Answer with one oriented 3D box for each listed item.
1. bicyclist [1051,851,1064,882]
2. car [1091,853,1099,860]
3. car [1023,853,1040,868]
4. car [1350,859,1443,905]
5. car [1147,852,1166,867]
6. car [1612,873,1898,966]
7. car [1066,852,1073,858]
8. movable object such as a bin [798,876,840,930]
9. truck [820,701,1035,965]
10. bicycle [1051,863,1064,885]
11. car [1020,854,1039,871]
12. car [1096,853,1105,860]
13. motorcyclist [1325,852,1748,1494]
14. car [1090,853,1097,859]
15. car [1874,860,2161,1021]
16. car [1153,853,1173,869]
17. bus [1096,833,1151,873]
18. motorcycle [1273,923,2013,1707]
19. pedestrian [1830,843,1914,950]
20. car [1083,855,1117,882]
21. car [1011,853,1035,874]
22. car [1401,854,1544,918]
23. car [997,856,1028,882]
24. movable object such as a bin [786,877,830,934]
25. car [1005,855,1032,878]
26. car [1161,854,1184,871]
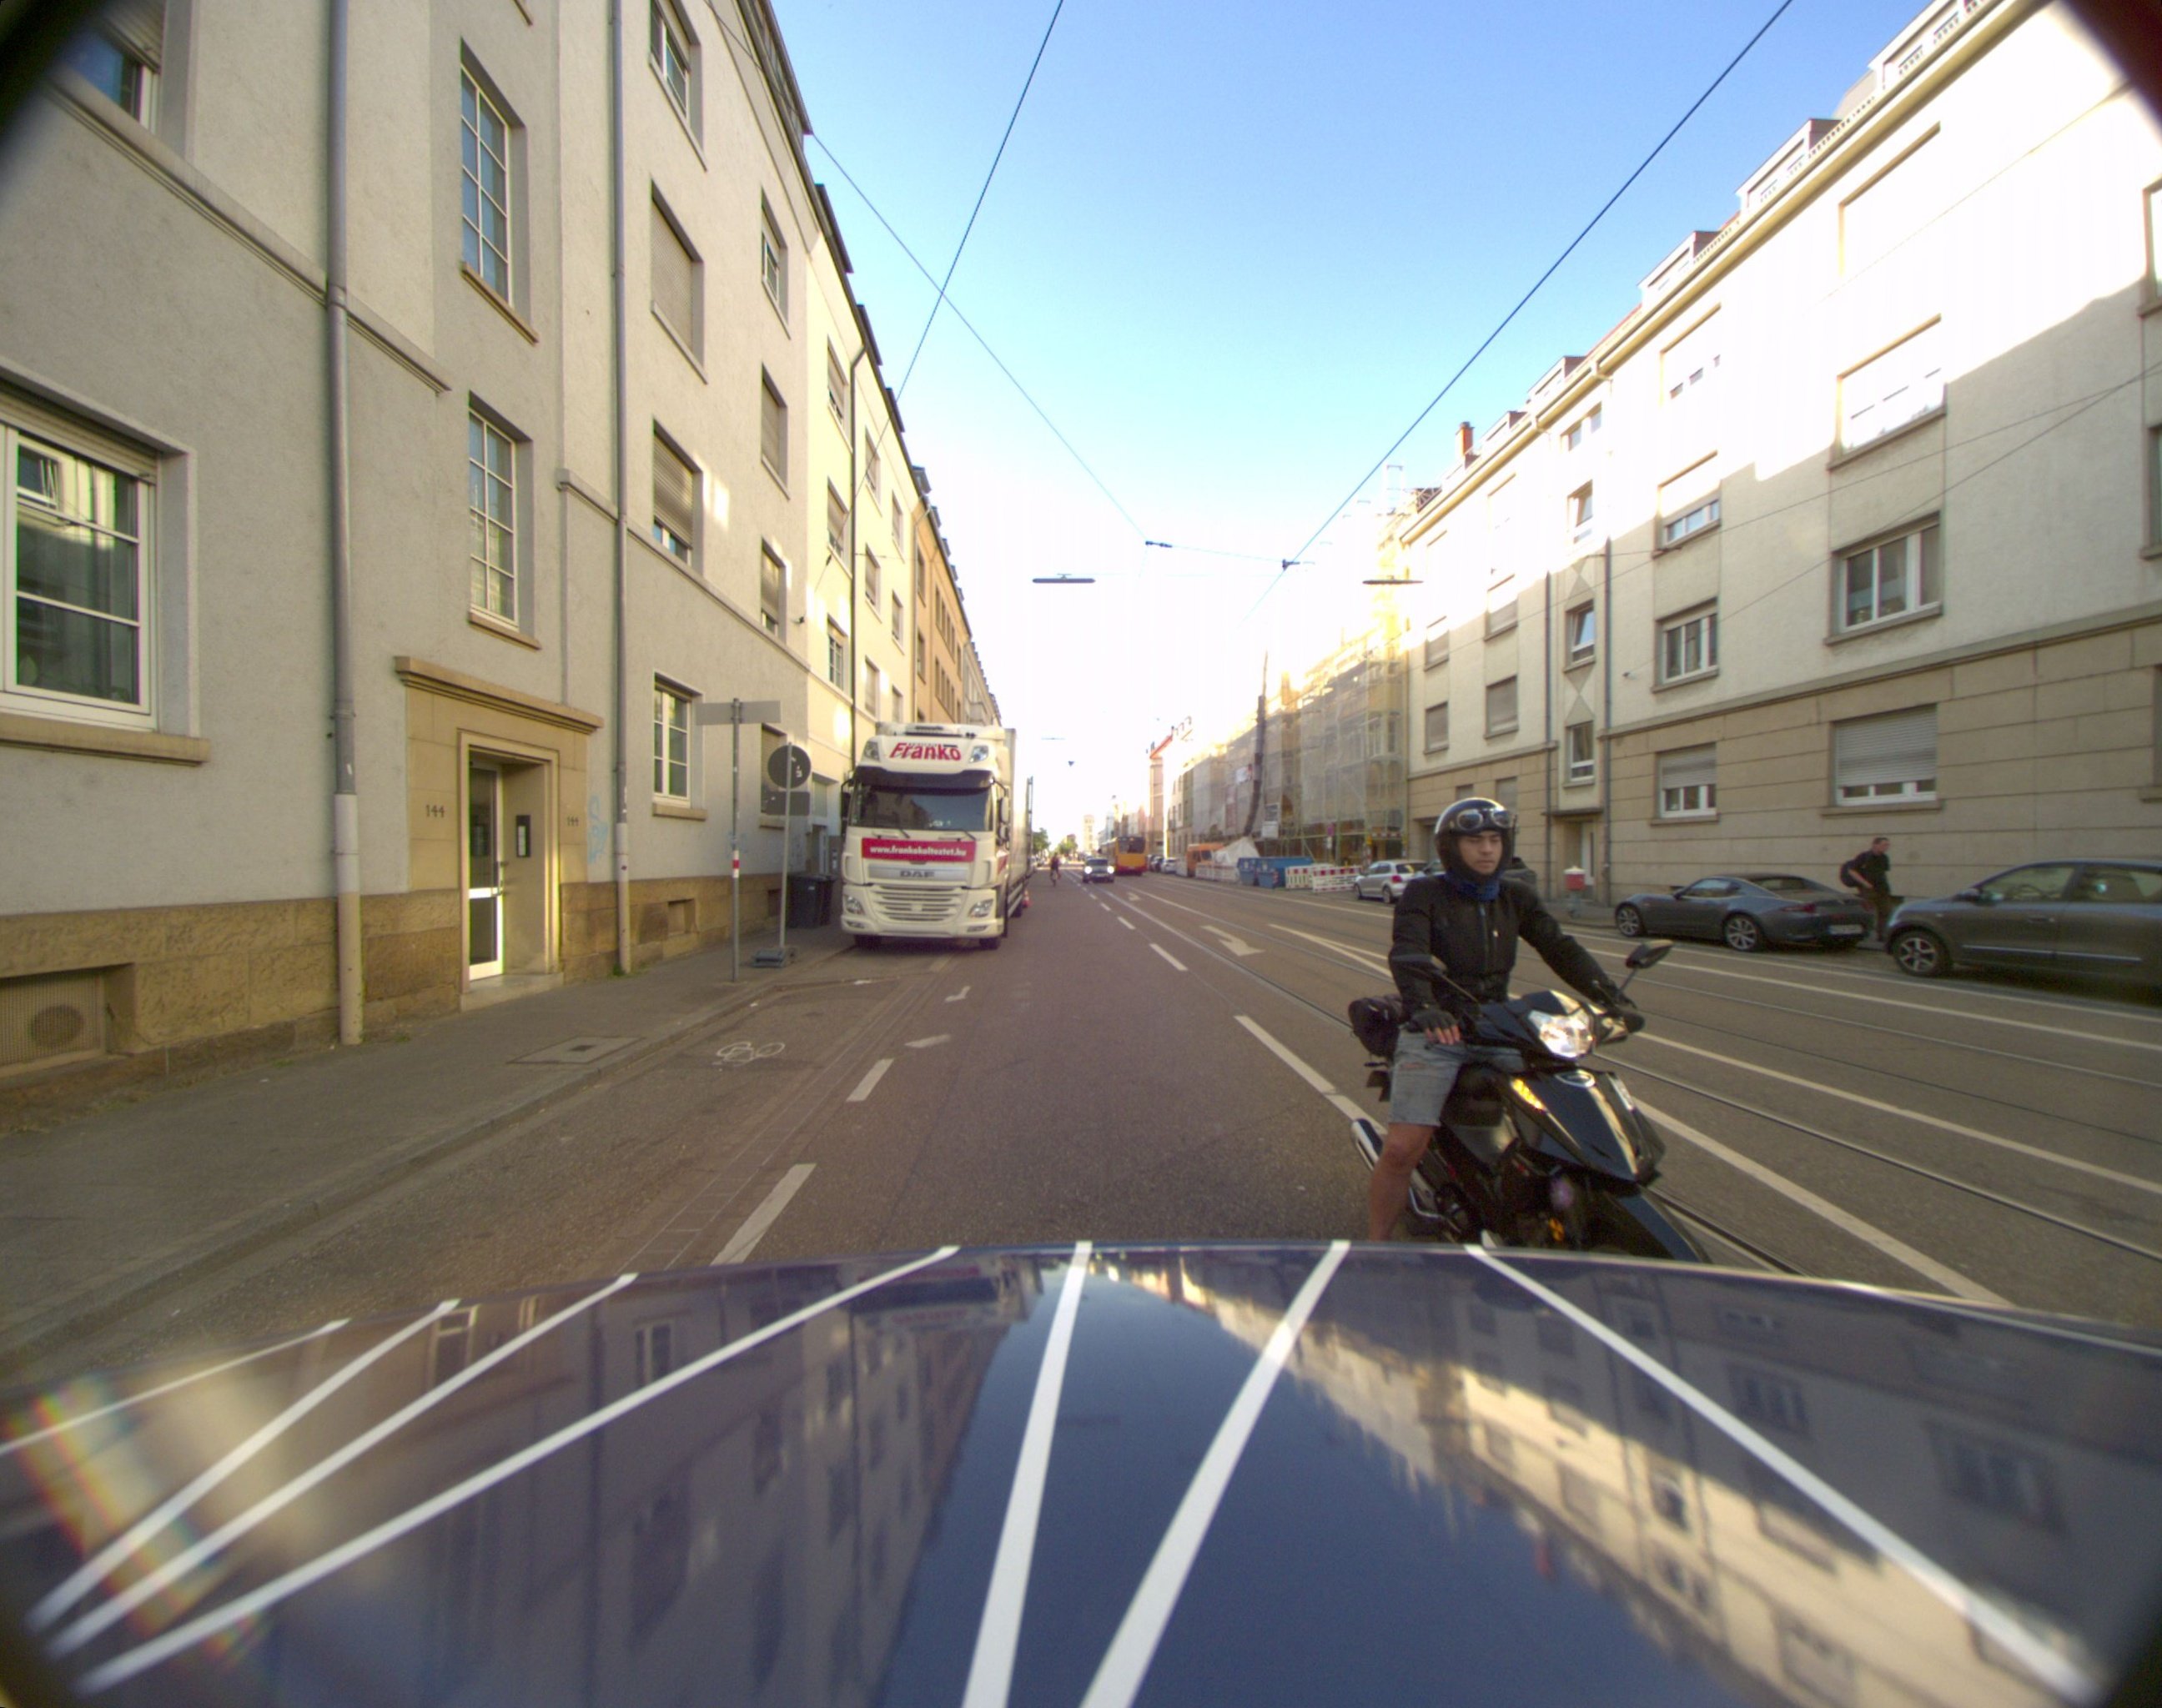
[{"bbox_3d":[-1.229,0.633,39.684,0.618,1.620,0.759,0,1,-4],"label":"bicyclist"},{"bbox_3d":[3.520,0.619,191.745,1.684,1.478,3.965,-2,0,-1],"label":"car"},{"bbox_3d":[-5.360,0.654,82.743,1.685,1.522,4.148,-2,0,-3],"label":"car"},{"bbox_3d":[10.604,0.884,25.779,1.543,1.404,3.510,-1,0,-3],"label":"car"},{"bbox_3d":[8.236,0.622,83.183,1.684,1.573,3.966,-2,0,1],"label":"car"},{"bbox_3d":[11.175,1.003,12.981,1.520,1.227,3.685,-1,0,-3],"label":"car"},{"bbox_3d":[-3.706,0.358,246.486,1.999,1.838,3.998,0,0,-4],"label":"car"},{"bbox_3d":[-5.405,1.001,15.708,0.666,1.087,0.570,0,1,-2],"label":"movable object such as a bin"},{"bbox_3d":[-2.631,-0.318,17.179,2.782,3.903,11.816,0,0,-2],"label":"truck"},{"bbox_3d":[-1.234,1.041,39.671,0.618,1.097,1.885,0,0,-4],"label":"bicycle"},{"bbox_3d":[-4.865,0.753,72.097,1.685,1.522,4.148,-2,0,-3],"label":"car"},{"bbox_3d":[4.244,0.626,167.811,1.684,1.478,3.965,-2,0,-1],"label":"car"},{"bbox_3d":[1.304,0.818,2.390,0.791,1.645,0.900,0,1,1],"label":"motorcyclist"},{"bbox_3d":[3.294,0.600,206.889,1.684,1.478,3.965,-2,0,-1],"label":"car"},{"bbox_3d":[11.412,0.863,8.319,1.679,1.519,3.539,-1,0,-3],"label":"car"},{"bbox_3d":[8.258,0.711,76.809,1.684,1.478,3.966,-2,0,1],"label":"car"},{"bbox_3d":[3.481,-0.090,68.588,2.755,3.095,19.156,0,0,-3],"label":"bus"},{"bbox_3d":[1.305,0.975,2.519,0.791,1.284,2.273,0,0,1],"label":"motorcycle"},{"bbox_3d":[12.937,0.674,12.442,0.605,1.699,0.730,0,1,-2],"label":"pedestrian"},{"bbox_3d":[1.060,0.807,44.469,1.685,1.454,4.148,-2,0,-3],"label":"car"},{"bbox_3d":[-4.518,0.750,59.157,1.685,1.522,4.148,-2,0,-3],"label":"car"},{"bbox_3d":[10.805,0.808,21.331,1.696,1.590,4.206,-1,0,-3],"label":"car"},{"bbox_3d":[-4.183,0.900,47.186,1.685,1.522,4.148,-2,0,-3],"label":"car"},{"bbox_3d":[-5.388,1.009,15.039,0.666,1.087,0.570,0,1,-2],"label":"movable object such as a bin"},{"bbox_3d":[-4.310,0.833,52.989,1.685,1.522,4.148,-2,0,-3],"label":"car"},{"bbox_3d":[8.563,0.765,71.112,1.684,1.478,3.966,-2,0,1],"label":"car"}]
